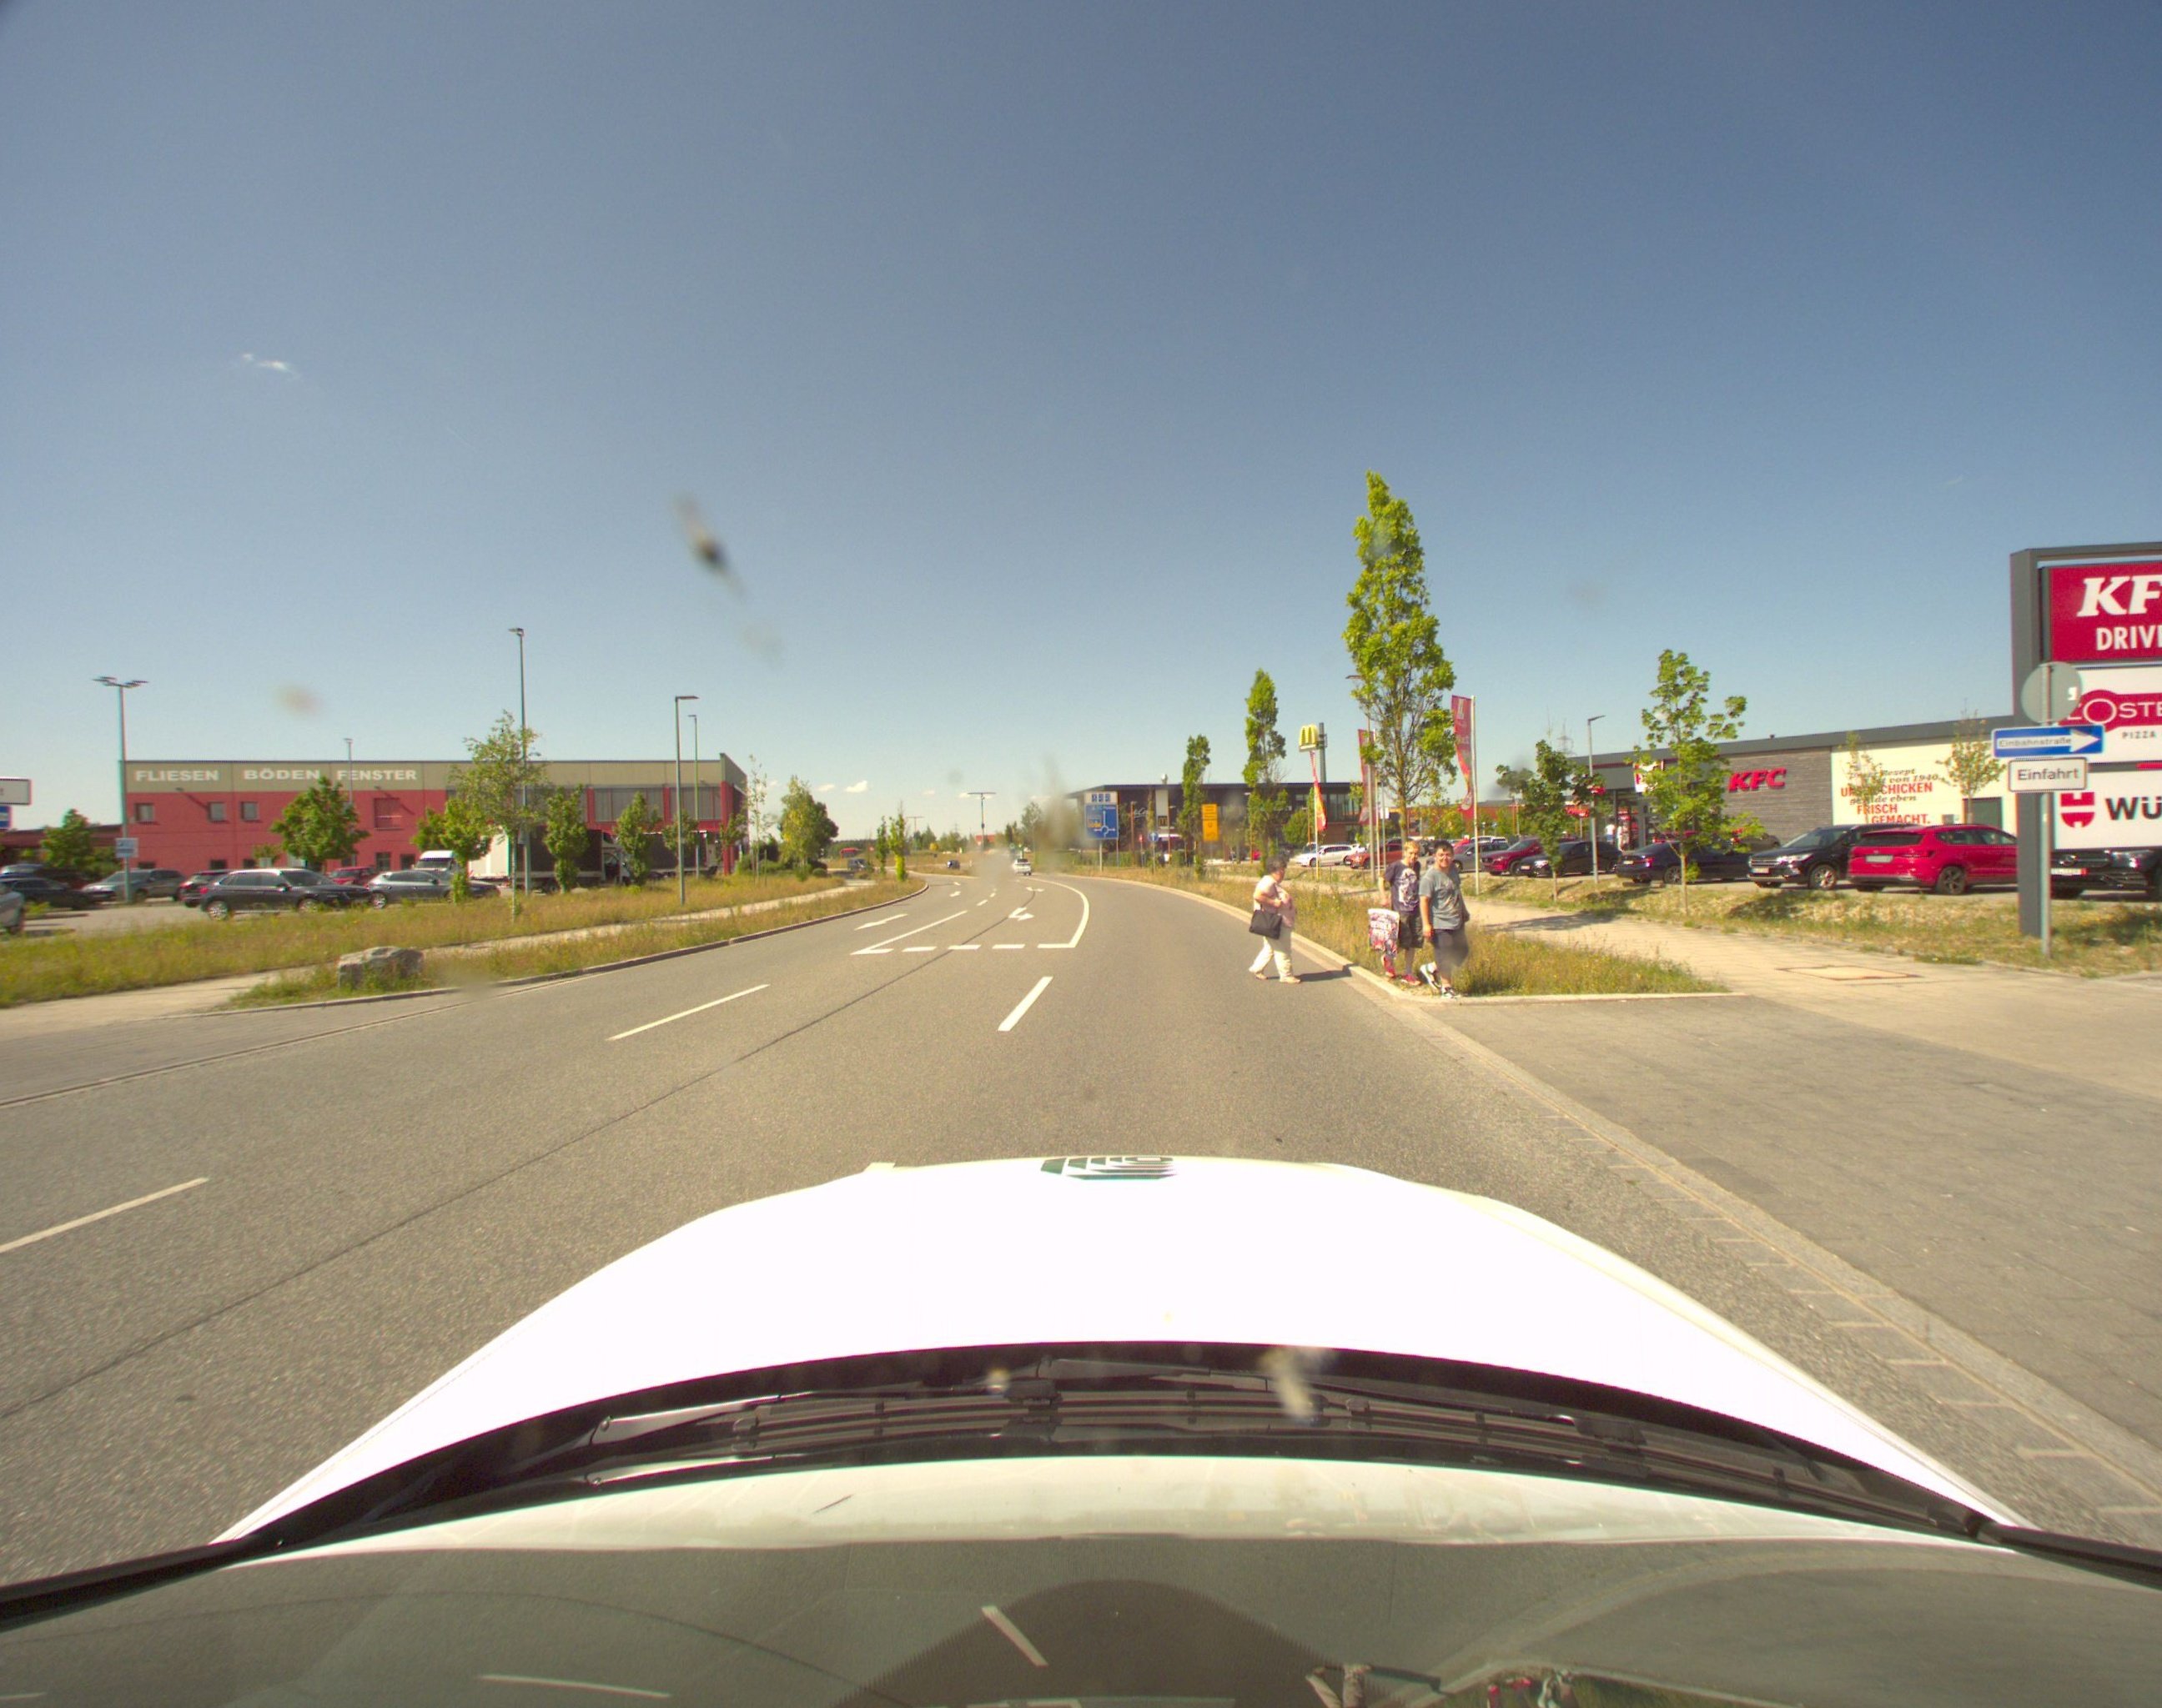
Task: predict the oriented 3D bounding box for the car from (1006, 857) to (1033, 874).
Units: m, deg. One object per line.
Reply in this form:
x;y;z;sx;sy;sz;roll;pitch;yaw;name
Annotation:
-5.359;0.984;71.025;1.619;1.434;3.772;-2;0;-15;car

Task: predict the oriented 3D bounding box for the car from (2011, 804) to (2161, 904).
21.308;-0.113;15.583;4.970;1.734;1.938;-3;1;-3;car

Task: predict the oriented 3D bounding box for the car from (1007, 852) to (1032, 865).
-10.768;0.784;142.948;3.967;2.013;1.837;-2;0;5;car

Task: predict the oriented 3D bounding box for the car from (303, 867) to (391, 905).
-38.656;1.638;43.033;1.838;1.773;4.353;-2;0;-19;car

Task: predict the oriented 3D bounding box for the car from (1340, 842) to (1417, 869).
18.664;0.092;51.184;4.207;1.490;1.862;-3;1;-11;car

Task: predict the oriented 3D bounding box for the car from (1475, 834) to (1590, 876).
20.200;0.027;36.570;4.145;1.665;1.866;-3;1;-4;car

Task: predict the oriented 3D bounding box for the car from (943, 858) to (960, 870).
-16.534;1.272;103.693;1.620;1.434;3.770;-2;0;-17;car

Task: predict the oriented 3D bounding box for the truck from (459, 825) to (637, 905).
-25.693;0.474;39.805;2.299;3.464;7.526;-2;0;16;truck

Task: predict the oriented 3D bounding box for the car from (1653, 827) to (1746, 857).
34.177;-0.645;45.025;4.569;1.431;1.857;-3;1;-19;car

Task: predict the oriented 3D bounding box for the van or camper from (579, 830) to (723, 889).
-27.645;0.307;52.691;7.700;3.468;2.544;-2;0;-13;van or camper

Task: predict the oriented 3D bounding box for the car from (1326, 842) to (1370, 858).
26.999;-0.408;82.408;3.949;1.373;1.809;-2;0;28;car

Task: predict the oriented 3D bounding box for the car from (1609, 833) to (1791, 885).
20.032;0.155;26.516;4.383;1.449;1.794;-3;1;6;car

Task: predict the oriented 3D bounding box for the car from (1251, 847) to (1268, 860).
20.573;-0.086;93.754;1.780;1.434;4.014;-2;0;13;car

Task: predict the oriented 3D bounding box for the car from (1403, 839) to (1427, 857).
30.256;-0.571;73.687;1.769;1.451;4.193;-2;0;25;car

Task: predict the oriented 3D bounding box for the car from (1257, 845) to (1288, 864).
16.289;0.031;69.012;1.681;1.462;4.193;-2;0;25;car

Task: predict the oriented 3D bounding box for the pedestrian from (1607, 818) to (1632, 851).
34.568;-1.250;52.250;0.914;2.013;0.887;-2;0;-15;pedestrian

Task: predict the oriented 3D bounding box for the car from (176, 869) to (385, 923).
-25.056;1.293;25.633;4.565;1.458;1.836;-2;0;-3;car

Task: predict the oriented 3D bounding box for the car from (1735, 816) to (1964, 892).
20.411;0.000;21.757;4.392;1.734;1.791;-3;0;0;car

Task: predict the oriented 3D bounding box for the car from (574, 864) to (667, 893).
-27.263;1.428;48.364;4.373;1.552;1.829;-2;0;-14;car

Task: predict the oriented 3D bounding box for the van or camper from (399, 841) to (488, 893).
-43.843;0.850;56.267;2.436;3.271;7.191;-2;0;-18;van or camper

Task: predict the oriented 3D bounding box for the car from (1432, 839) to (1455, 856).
33.171;-0.650;74.467;1.769;1.451;4.193;-2;0;25;car

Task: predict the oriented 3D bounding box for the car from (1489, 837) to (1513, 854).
39.696;-0.829;76.987;1.769;1.451;4.193;-2;0;25;car

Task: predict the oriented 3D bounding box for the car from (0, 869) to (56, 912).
-51.643;1.748;38.513;1.838;1.994;4.353;-2;0;-19;car

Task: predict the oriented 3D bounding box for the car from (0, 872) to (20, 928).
-35.999;1.533;25.044;1.836;1.823;4.357;-2;0;-16;car

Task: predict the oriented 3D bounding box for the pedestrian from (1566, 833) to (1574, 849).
36.878;-0.969;61.450;0.380;1.240;0.290;-2;0;-20;pedestrian

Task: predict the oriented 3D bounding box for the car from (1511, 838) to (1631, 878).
20.524;0.144;34.179;4.154;1.449;1.785;-3;1;-10;car

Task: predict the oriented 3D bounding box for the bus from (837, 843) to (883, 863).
-41.535;-0.206;153.765;2.767;3.078;12.249;-2;2;13;bus

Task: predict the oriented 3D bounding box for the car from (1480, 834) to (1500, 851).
44.389;-1.225;88.415;1.769;1.757;4.193;-2;0;25;car

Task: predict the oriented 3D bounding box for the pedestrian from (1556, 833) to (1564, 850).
36.091;-0.948;61.324;0.380;1.240;0.290;-2;0;-20;pedestrian

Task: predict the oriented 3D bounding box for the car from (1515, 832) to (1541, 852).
42.512;-1.171;77.528;1.769;1.757;4.193;-2;0;25;car

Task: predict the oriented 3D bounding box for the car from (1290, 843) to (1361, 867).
17.603;0.075;58.611;4.528;1.490;1.862;-3;1;-11;car

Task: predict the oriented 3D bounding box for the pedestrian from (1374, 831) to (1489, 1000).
3.552;0.599;8.333;0.805;1.628;0.867;-1;0;3;pedestrian

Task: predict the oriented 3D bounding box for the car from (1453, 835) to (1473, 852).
40.905;-1.135;87.223;1.769;1.757;4.193;-2;0;25;car

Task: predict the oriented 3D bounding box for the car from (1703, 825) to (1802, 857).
34.958;-0.658;42.398;4.569;1.431;1.857;-3;1;-19;car

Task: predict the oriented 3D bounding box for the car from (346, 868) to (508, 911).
-24.744;1.320;30.956;4.413;1.383;1.973;-2;0;-3;car

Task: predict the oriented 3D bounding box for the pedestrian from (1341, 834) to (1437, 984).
3.511;0.600;9.341;0.797;1.629;0.805;-1;0;3;pedestrian

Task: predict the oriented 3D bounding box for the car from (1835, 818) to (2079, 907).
20.389;0.166;19.015;4.407;1.734;1.785;-3;1;-11;car

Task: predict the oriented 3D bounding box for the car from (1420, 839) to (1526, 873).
19.871;0.087;41.324;4.552;1.490;1.864;-3;1;-8;car

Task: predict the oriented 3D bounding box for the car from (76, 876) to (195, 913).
-46.463;1.949;40.149;1.838;1.562;4.353;-2;0;-19;car

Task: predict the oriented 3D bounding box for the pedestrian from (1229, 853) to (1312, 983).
2.241;0.729;9.729;0.789;1.470;0.950;-1;0;3;pedestrian

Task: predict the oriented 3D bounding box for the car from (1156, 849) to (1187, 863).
9.684;0.225;87.186;1.798;1.434;3.975;-2;0;-18;car

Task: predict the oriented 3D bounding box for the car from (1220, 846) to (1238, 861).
16.994;-0.059;93.183;1.780;1.604;4.014;-2;0;13;car

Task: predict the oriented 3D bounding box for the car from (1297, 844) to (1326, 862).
19.920;-0.127;70.306;1.769;1.462;4.193;-2;0;25;car

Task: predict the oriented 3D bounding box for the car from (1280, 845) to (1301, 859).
24.399;-0.235;94.883;1.777;1.513;4.022;-2;0;22;car

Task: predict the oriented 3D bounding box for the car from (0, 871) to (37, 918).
-47.014;1.750;34.092;1.836;1.994;4.357;-2;0;-16;car

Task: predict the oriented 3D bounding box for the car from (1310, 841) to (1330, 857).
28.297;-0.624;96.379;1.777;1.702;4.022;-2;0;23;car

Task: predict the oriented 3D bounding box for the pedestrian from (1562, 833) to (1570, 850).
36.782;-0.967;61.729;0.380;1.240;0.290;-2;0;-20;pedestrian

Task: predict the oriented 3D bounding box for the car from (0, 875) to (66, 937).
-28.308;1.343;20.737;1.846;1.512;4.571;-2;0;-35;car

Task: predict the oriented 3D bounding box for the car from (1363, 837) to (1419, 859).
25.621;-0.526;67.371;4.169;1.635;1.780;-2;0;-19;car
